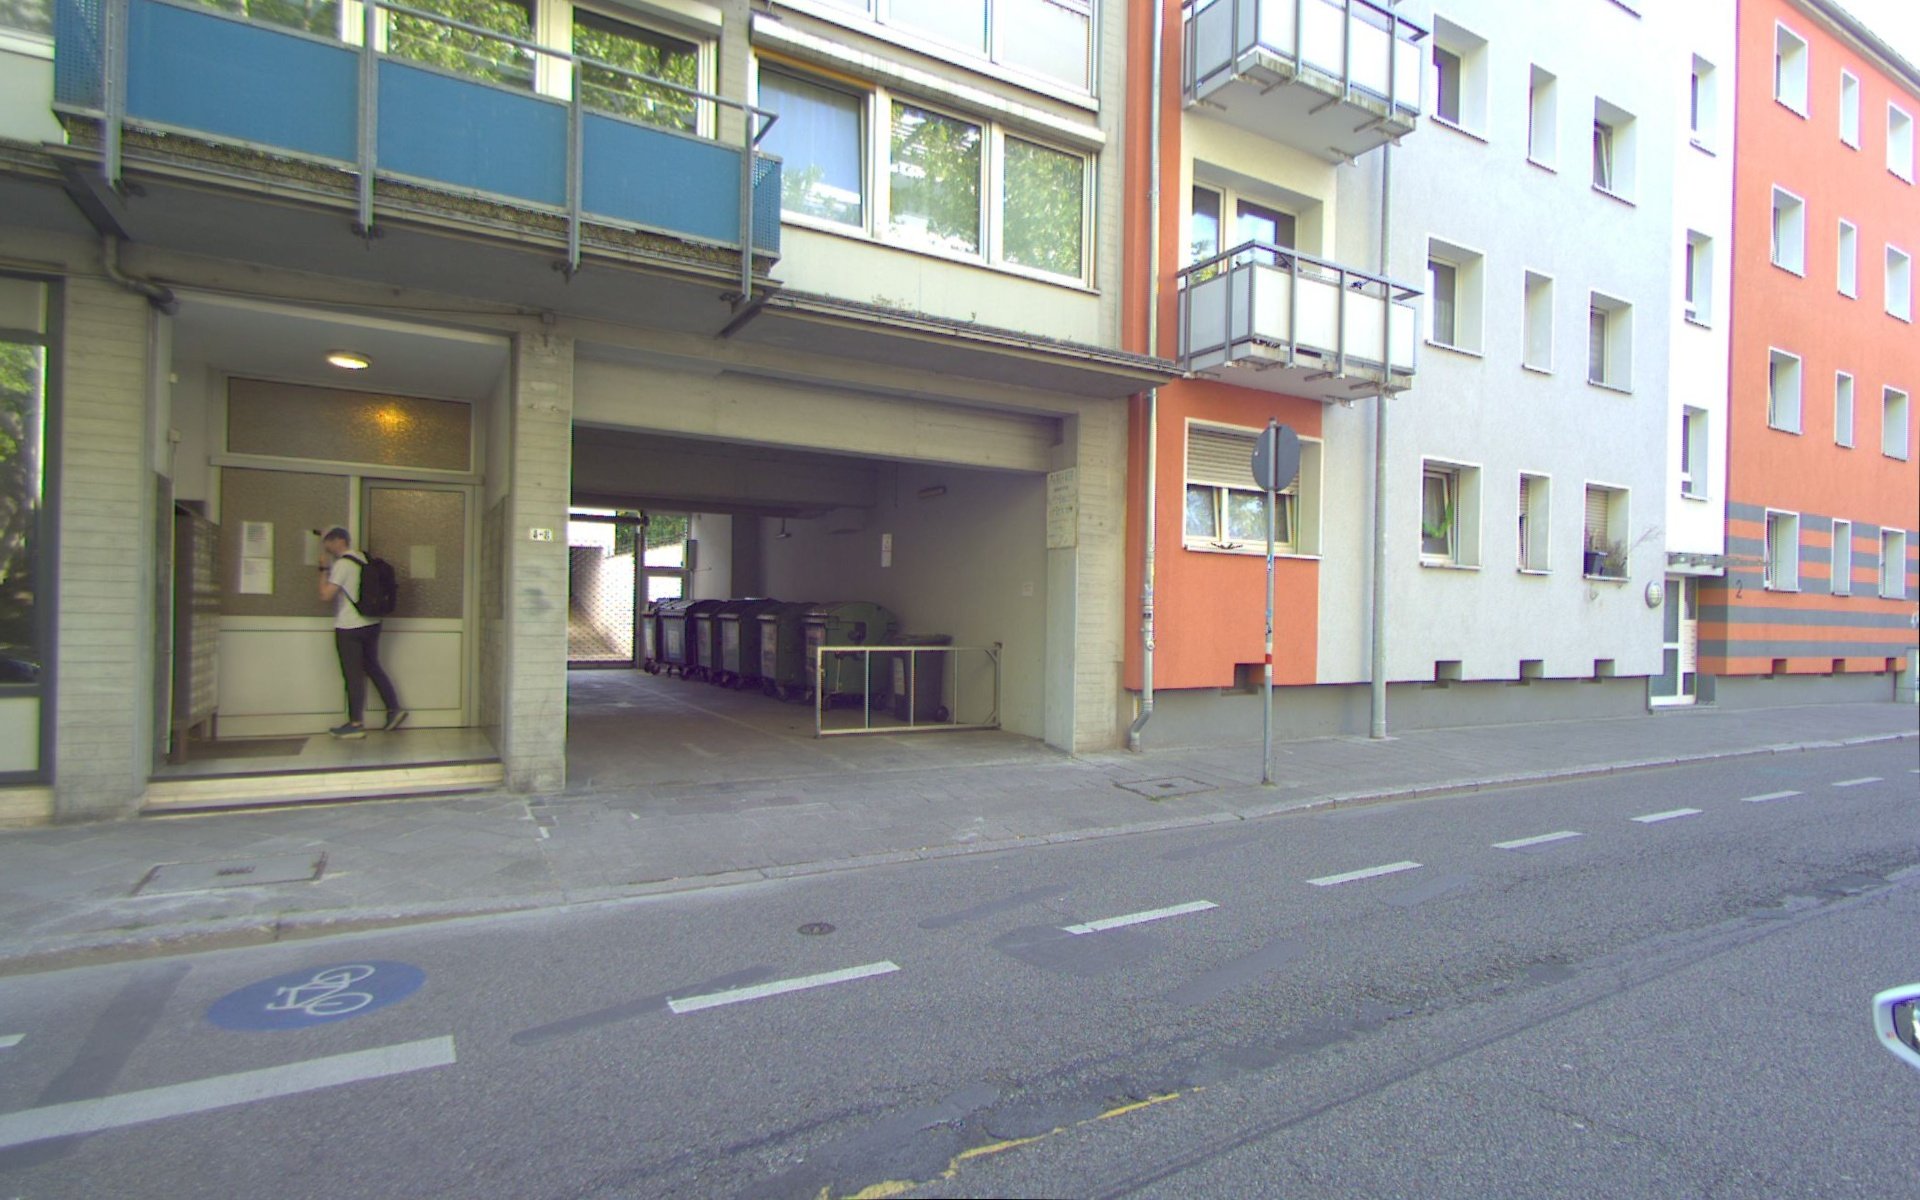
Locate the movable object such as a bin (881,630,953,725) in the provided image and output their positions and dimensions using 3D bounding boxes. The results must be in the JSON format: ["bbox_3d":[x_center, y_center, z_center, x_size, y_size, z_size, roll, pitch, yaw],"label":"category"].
[{"bbox_3d":[-0.533,0.944,12.413,0.745,1.116,0.463,2,0,-30],"label":"movable object such as a bin"}]

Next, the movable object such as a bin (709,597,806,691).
[{"bbox_3d":[-3.367,0.704,16.623,1.186,1.467,1.319,2,0,-30],"label":"movable object such as a bin"}]

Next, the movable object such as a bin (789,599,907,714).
[{"bbox_3d":[-1.561,0.744,13.805,1.159,1.467,1.319,2,0,-30],"label":"movable object such as a bin"}]

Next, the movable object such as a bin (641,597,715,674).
[{"bbox_3d":[-5.613,0.691,19.985,1.186,1.467,1.027,2,0,-30],"label":"movable object such as a bin"}]

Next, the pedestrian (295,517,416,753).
[{"bbox_3d":[-5.170,0.290,8.592,0.780,1.904,0.575,2,0,-39],"label":"pedestrian"}]

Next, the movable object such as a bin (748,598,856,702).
[{"bbox_3d":[-2.401,0.726,15.138,1.186,1.467,1.319,2,0,-30],"label":"movable object such as a bin"}]

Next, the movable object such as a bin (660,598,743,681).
[{"bbox_3d":[-4.837,0.726,18.756,1.186,1.467,1.222,2,0,-30],"label":"movable object such as a bin"}]

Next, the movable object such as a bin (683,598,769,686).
[{"bbox_3d":[-4.138,0.724,17.713,1.186,1.467,1.114,2,0,-30],"label":"movable object such as a bin"}]
